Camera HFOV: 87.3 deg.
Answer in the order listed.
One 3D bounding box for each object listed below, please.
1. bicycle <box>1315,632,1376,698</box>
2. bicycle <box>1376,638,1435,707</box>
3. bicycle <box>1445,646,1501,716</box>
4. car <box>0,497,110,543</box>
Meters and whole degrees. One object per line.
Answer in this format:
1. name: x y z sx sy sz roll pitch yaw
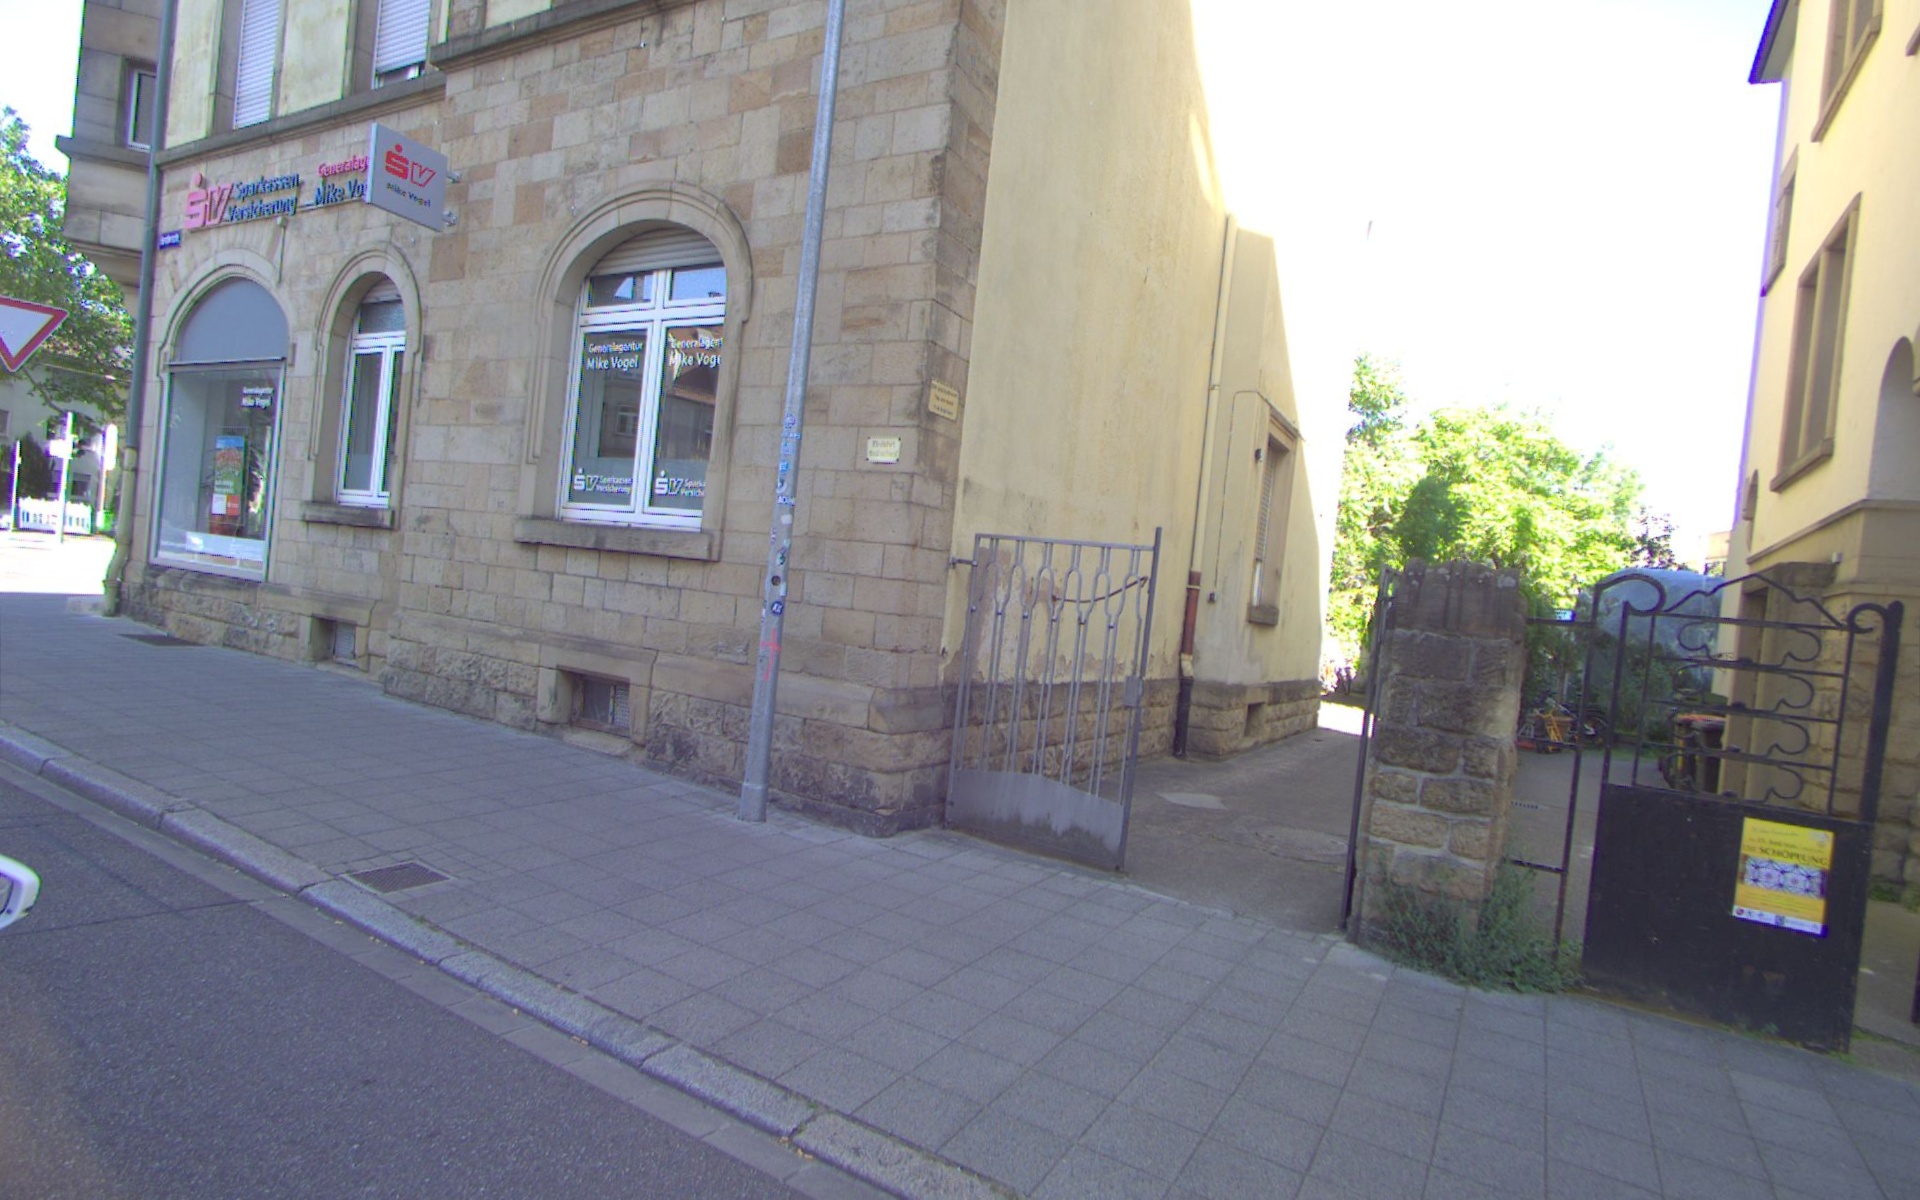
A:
1. bicycle: 9.973 1.644 25.973 0.904 1.532 2.667 6 2 31
2. bicycle: 11.207 1.780 25.256 0.904 1.532 2.667 6 2 31
3. bicycle: 12.592 1.939 24.643 0.904 1.532 2.667 6 2 31
4. car: -37.870 -3.315 41.536 1.614 1.417 3.954 7 0 14
